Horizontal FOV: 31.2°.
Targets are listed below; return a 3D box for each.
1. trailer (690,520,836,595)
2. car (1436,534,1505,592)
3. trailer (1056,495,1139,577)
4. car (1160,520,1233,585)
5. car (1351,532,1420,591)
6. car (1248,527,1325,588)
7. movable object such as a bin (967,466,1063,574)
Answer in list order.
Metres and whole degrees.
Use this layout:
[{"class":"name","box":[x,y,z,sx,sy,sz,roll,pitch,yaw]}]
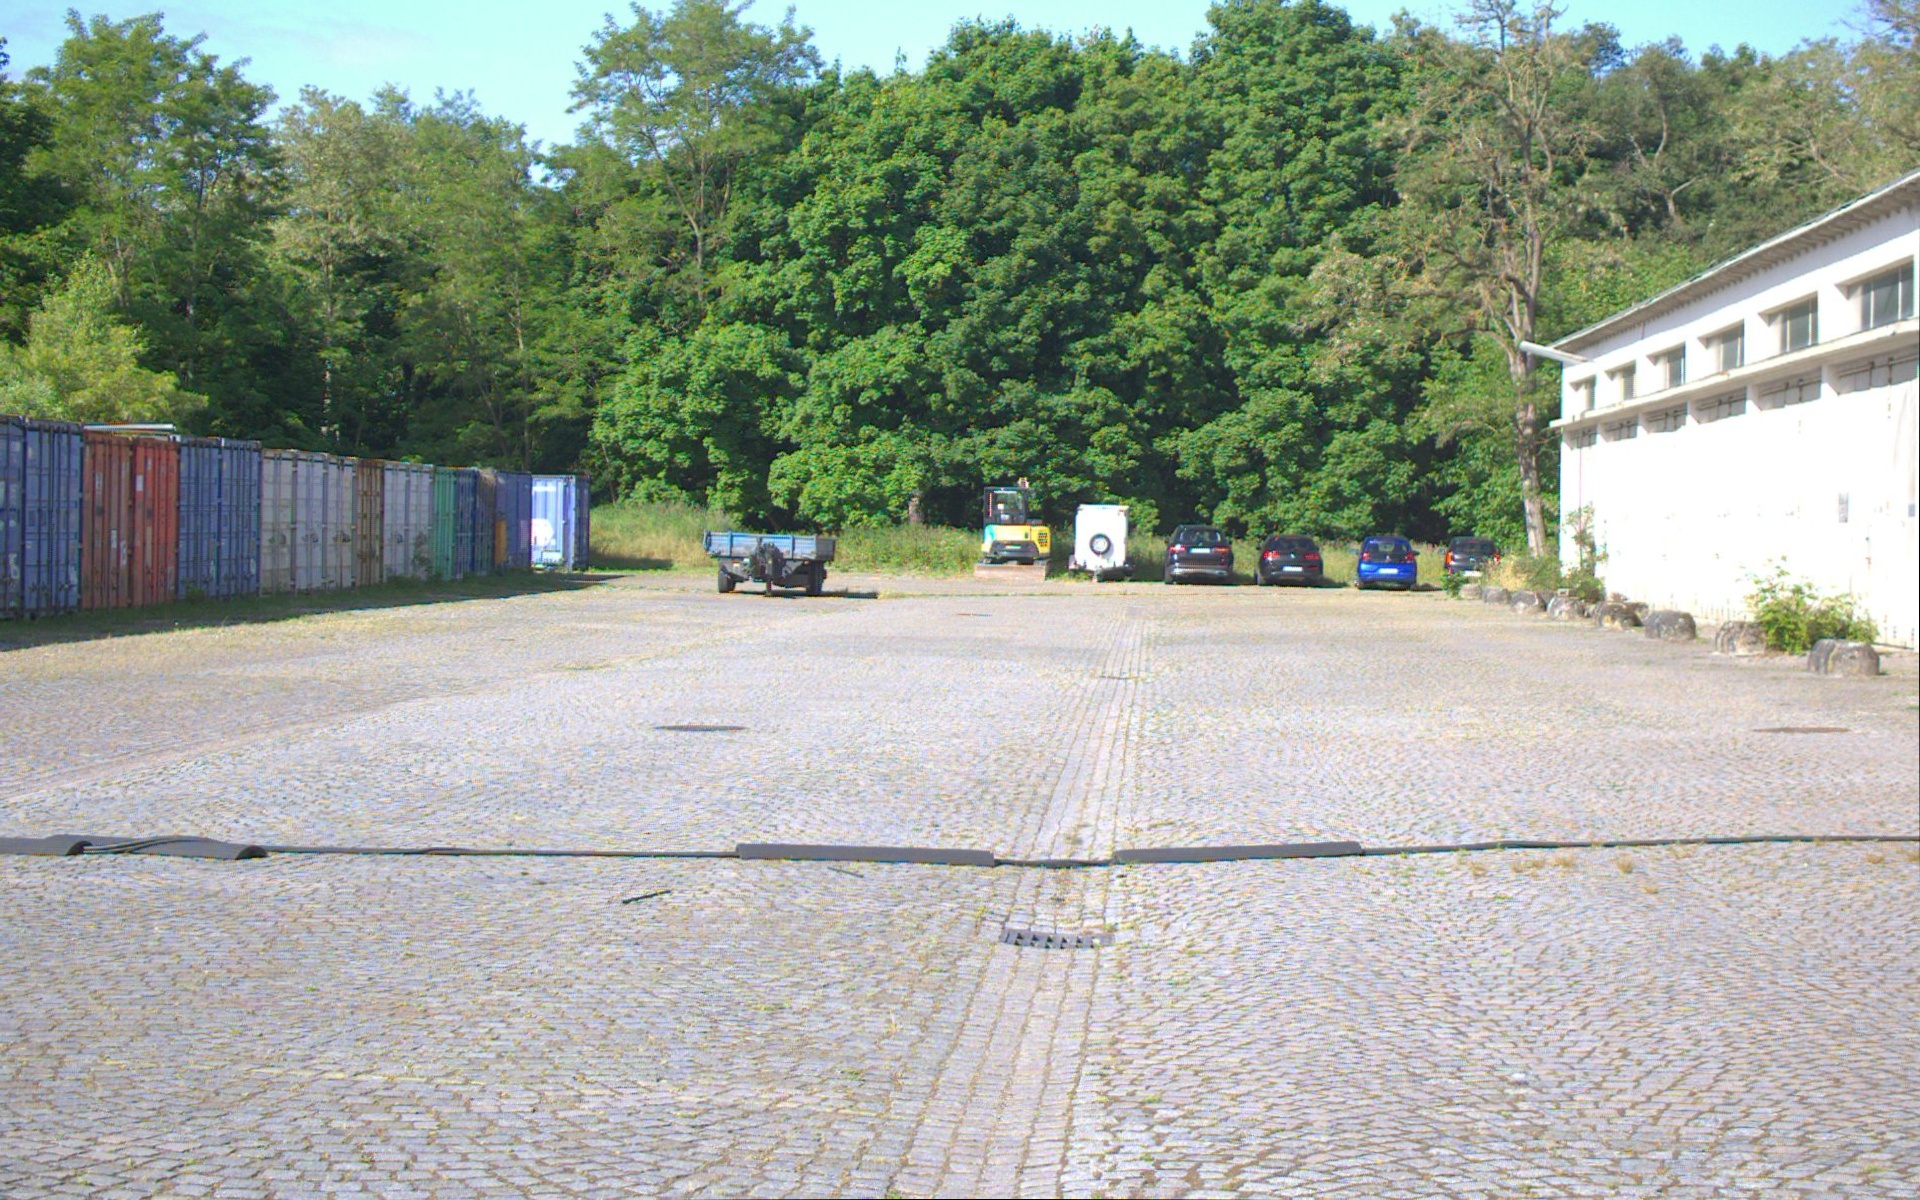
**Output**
[{"class":"trailer","box":[-4.393,-0.994,77.775,2.705,1.460,6.247,2,2,2]},{"class":"car","box":[14.284,-1.058,96.053,1.745,1.431,4.181,3,3,10]},{"class":"trailer","box":[3.938,-1.852,97.361,2.193,2.087,5.751,2,2,3]},{"class":"car","box":[6.496,-1.330,94.825,1.864,1.583,4.296,2,2,3]},{"class":"car","box":[11.757,-1.081,94.802,1.745,1.431,4.182,3,3,8]},{"class":"car","box":[8.999,-1.190,95.037,1.864,1.465,4.296,2,2,3]},{"class":"movable object such as a bin","box":[1.605,-2.338,98.094,2.306,2.886,5.751,2,2,4]}]
